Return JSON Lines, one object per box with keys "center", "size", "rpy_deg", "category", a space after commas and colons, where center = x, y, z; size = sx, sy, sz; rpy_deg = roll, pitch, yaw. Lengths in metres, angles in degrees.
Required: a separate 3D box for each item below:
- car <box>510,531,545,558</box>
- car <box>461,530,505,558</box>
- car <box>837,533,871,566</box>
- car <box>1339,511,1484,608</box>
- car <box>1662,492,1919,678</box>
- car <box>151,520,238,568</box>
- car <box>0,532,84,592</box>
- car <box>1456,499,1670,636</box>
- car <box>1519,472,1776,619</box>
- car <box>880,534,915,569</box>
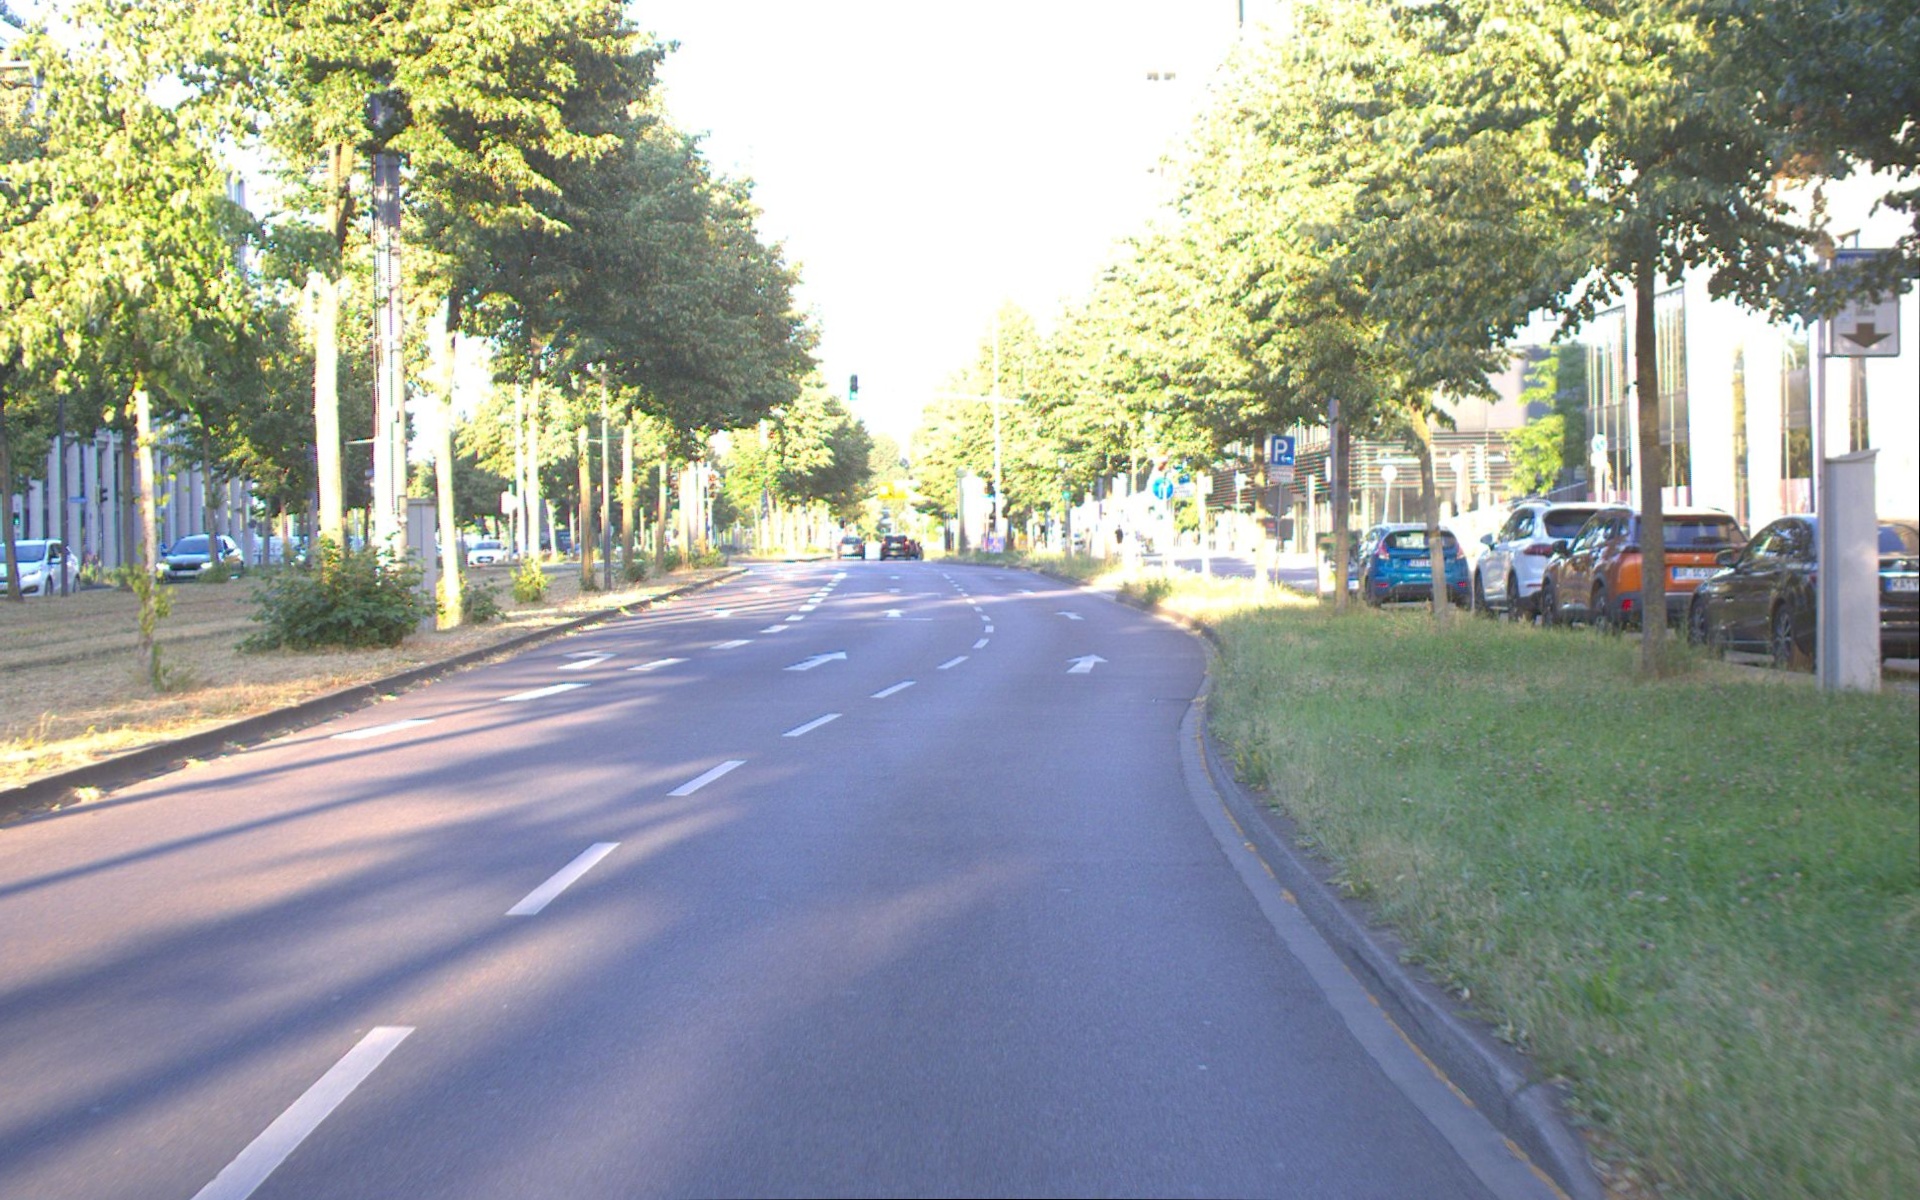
{"center": [-26.290, -3.397, 208.837], "size": [1.728, 1.584, 3.515], "rpy_deg": [-1, 1, -1], "category": "car"}
{"center": [-23.358, -2.736, 168.424], "size": [1.786, 1.327, 3.672], "rpy_deg": [-1, 1, -3], "category": "car"}
{"center": [-6.630, -3.209, 215.888], "size": [2.087, 2.007, 4.001], "rpy_deg": [-1, 2, -2], "category": "car"}
{"center": [7.436, -0.690, 57.005], "size": [1.724, 1.524, 4.269], "rpy_deg": [1, 1, -1], "category": "car"}
{"center": [7.940, -0.180, 31.127], "size": [1.943, 1.543, 4.813], "rpy_deg": [-1, 1, -3], "category": "car"}
{"center": [-22.178, -1.639, 99.711], "size": [1.657, 1.327, 4.742], "rpy_deg": [-1, 1, -3], "category": "car"}
{"center": [-21.388, -0.887, 78.719], "size": [1.657, 1.327, 4.531], "rpy_deg": [-1, 1, -3], "category": "car"}
{"center": [7.972, -0.458, 45.903], "size": [1.951, 1.708, 5.159], "rpy_deg": [1, 1, 0], "category": "car"}
{"center": [7.590, -0.618, 38.357], "size": [1.854, 1.524, 4.483], "rpy_deg": [1, 1, -1], "category": "car"}
{"center": [-3.659, -2.849, 200.623], "size": [1.993, 2.007, 4.001], "rpy_deg": [-1, 2, -2], "category": "car"}
